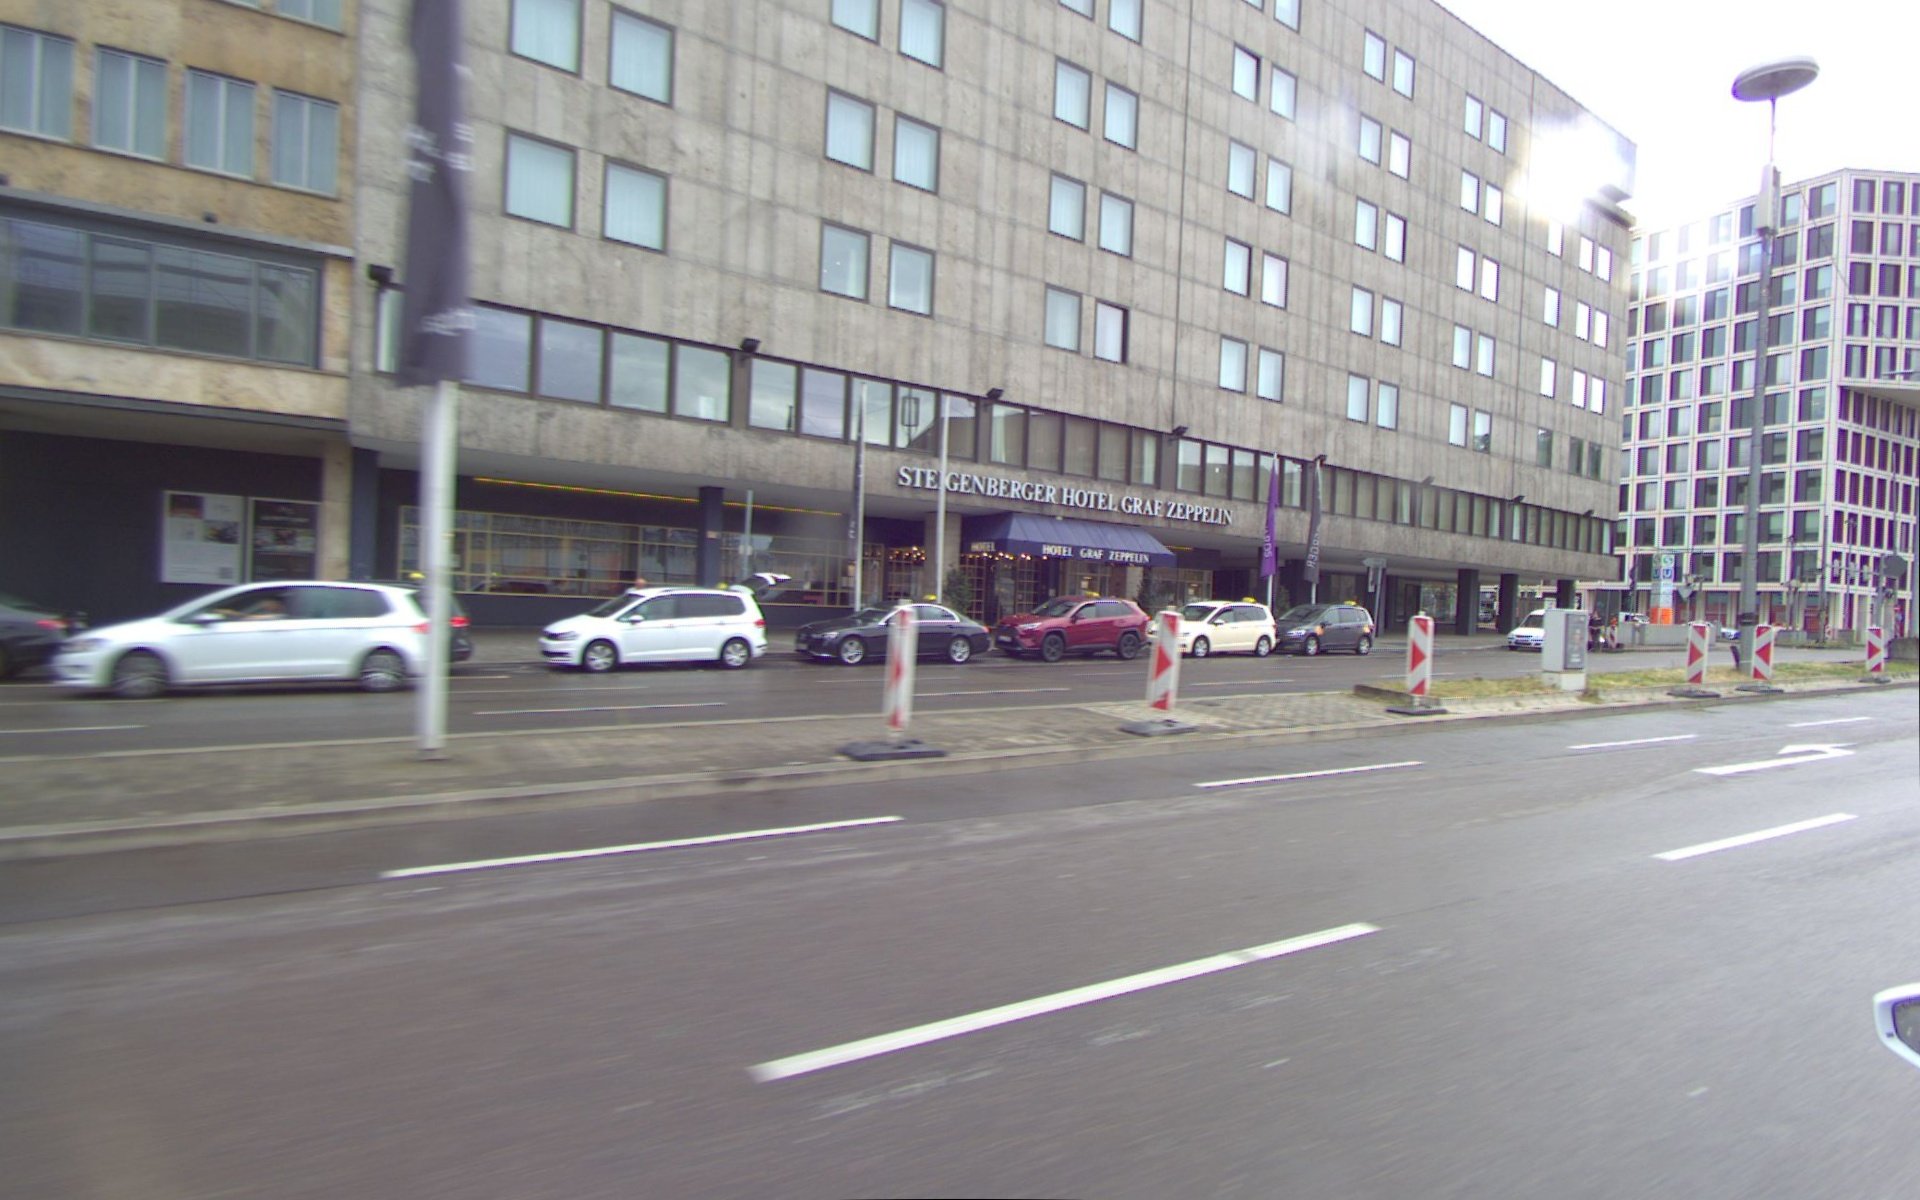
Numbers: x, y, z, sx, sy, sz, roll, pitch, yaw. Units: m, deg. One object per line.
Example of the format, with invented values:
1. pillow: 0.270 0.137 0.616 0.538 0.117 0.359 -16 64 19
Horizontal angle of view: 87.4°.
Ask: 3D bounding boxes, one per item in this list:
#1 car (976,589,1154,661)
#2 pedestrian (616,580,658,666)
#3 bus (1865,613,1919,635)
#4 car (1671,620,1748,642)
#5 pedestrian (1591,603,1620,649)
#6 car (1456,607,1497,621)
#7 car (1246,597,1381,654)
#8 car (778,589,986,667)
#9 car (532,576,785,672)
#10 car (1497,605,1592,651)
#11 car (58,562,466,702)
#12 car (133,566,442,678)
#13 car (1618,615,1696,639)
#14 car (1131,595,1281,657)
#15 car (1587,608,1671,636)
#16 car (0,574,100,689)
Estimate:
1. car: 2.881 0.663 27.102 4.596 1.791 1.891 2 0 -33
2. pedestrian: -6.938 0.488 21.600 0.651 1.805 0.617 2 2 -34
3. bus: 125.078 3.177 130.087 3.148 2.787 13.976 1 0 0
4. car: 60.423 2.476 81.073 1.989 1.619 4.639 1 0 -22
5. pedestrian: 27.138 1.098 42.259 0.780 1.911 0.694 1 0 12
6. car: 60.209 1.667 117.174 1.840 1.543 3.980 2 -1 -21
7. car: 11.660 0.855 33.074 4.465 1.751 1.806 2 0 -33
8. car: -1.792 0.637 23.750 4.569 1.682 1.890 1 0 -35
9. car: -6.116 0.489 20.644 4.665 1.781 1.742 2 0 -35
10. car: 24.583 1.173 42.225 4.327 1.786 1.763 1 0 -35
11. car: -9.562 0.422 14.155 4.455 1.691 1.812 1 0 -35
12. car: -11.304 0.357 17.149 4.186 1.704 1.743 1 0 -35
13. car: 54.617 2.092 78.814 1.992 1.761 4.632 1 0 -26
14. car: 7.409 0.770 30.089 4.531 1.720 1.804 2 0 -35
15. car: 51.560 1.666 77.498 2.058 1.930 5.055 1 0 -24
16. car: -15.365 0.409 14.313 4.520 1.643 1.742 2 0 -35
